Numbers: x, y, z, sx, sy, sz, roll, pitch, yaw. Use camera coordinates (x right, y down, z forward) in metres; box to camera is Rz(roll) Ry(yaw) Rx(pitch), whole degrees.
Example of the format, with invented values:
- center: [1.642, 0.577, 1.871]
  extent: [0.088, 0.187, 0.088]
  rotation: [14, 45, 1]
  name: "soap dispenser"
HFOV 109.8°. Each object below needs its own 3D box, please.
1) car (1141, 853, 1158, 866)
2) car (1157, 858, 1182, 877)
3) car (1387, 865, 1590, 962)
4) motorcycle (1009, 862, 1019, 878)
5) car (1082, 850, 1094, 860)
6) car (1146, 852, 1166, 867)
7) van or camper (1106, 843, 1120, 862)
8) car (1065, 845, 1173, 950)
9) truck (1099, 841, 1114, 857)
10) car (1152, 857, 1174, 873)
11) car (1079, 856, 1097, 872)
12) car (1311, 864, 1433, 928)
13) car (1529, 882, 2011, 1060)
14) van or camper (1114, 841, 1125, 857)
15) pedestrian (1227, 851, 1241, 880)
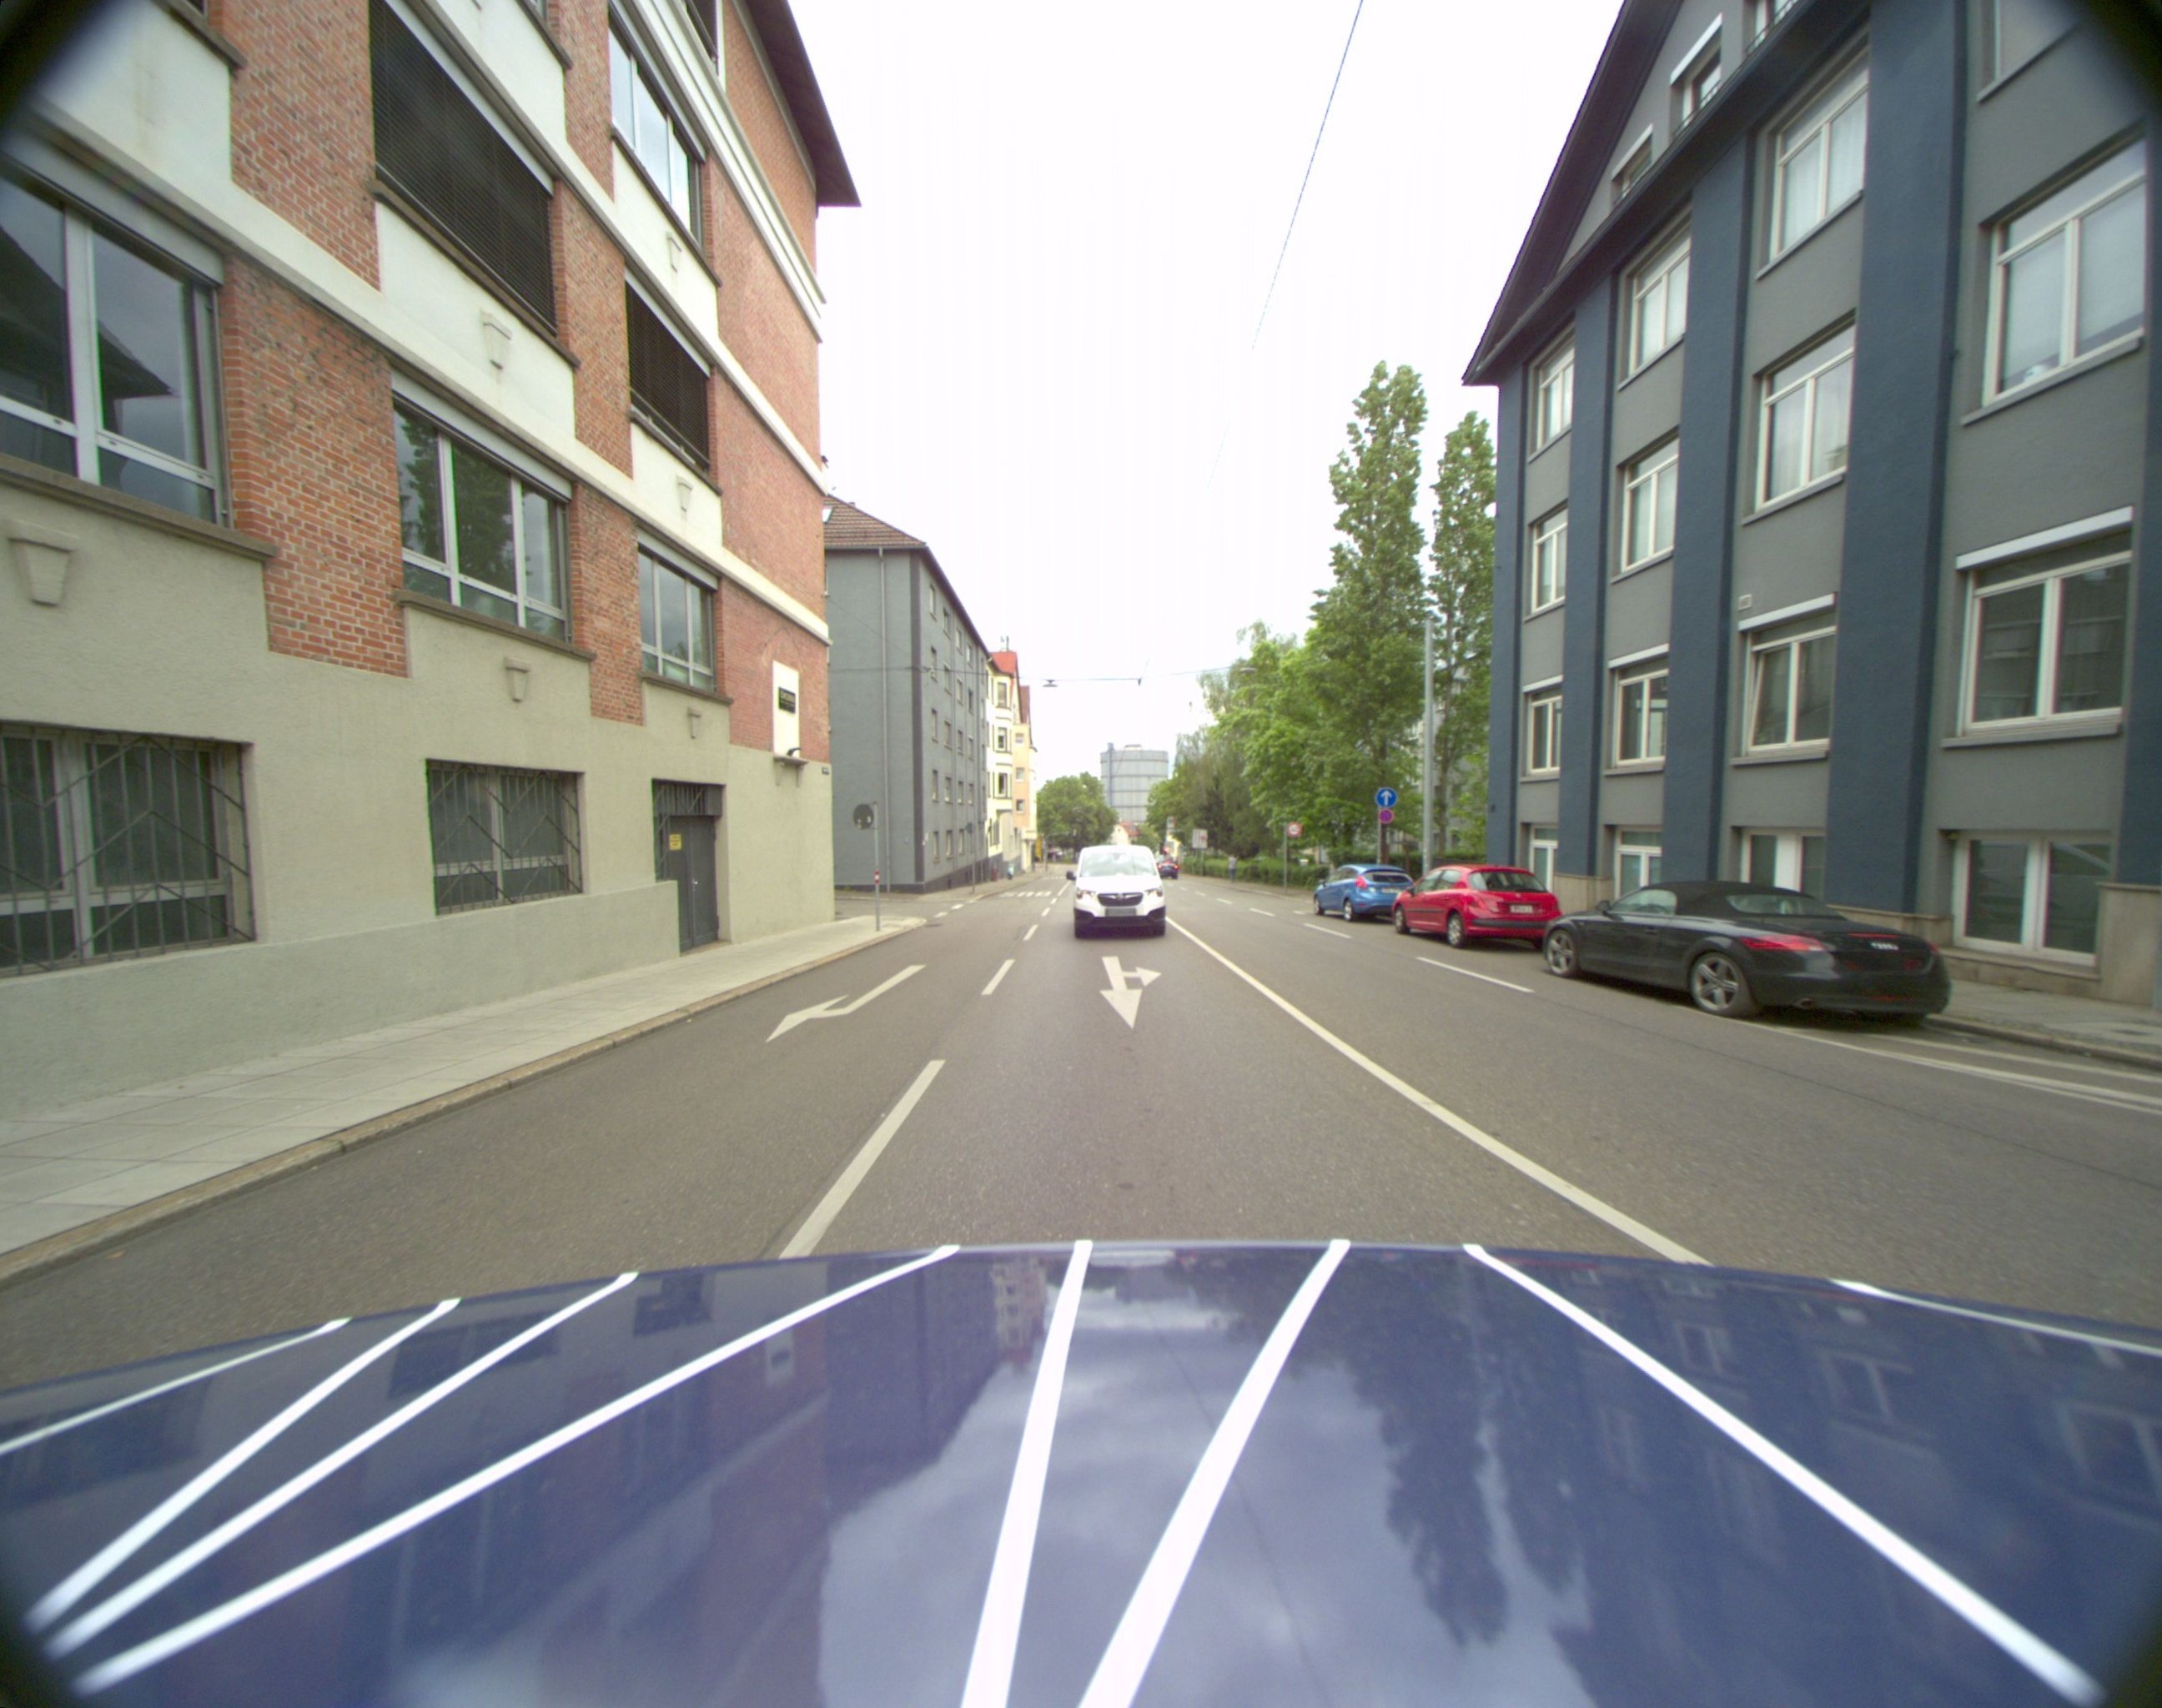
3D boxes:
- center: [8.070, 0.622, 90.054]
  extent: [1.724, 1.408, 3.728]
  rotation: [1, 0, 2]
  name: "car"
- center: [7.272, 1.054, 62.514]
  extent: [1.724, 1.475, 3.728]
  rotation: [1, 0, 2]
  name: "car"
- center: [7.439, 1.003, 14.345]
  extent: [1.819, 1.465, 3.869]
  rotation: [2, 0, 2]
  name: "car"
- center: [-5.152, 1.214, 58.491]
  extent: [0.566, 1.105, 1.653]
  rotation: [4, 0, 2]
  name: "motorcycle"
- center: [1.090, 0.141, 112.440]
  extent: [1.724, 1.486, 3.728]
  rotation: [1, 0, 2]
  name: "car"
- center: [7.653, 0.537, 77.538]
  extent: [1.724, 1.408, 3.728]
  rotation: [1, 0, 2]
  name: "car"
- center: [4.553, -0.201, 109.937]
  extent: [1.914, 2.754, 5.925]
  rotation: [1, 0, 2]
  name: "van or camper"
- center: [0.728, 0.771, 15.938]
  extent: [1.840, 1.797, 4.939]
  rotation: [-2, 0, 1]
  name: "car"
- center: [5.449, -1.043, 162.776]
  extent: [2.980, 3.394, 9.358]
  rotation: [-2, 0, 1]
  name: "truck"
- center: [7.499, 0.983, 69.862]
  extent: [1.724, 1.408, 3.728]
  rotation: [1, 0, 2]
  name: "car"
- center: [0.712, 0.931, 74.655]
  extent: [1.724, 1.486, 3.728]
  rotation: [1, 0, 2]
  name: "car"
- center: [7.437, 1.008, 19.841]
  extent: [1.724, 1.445, 3.727]
  rotation: [1, 0, 0]
  name: "car"
- center: [7.095, 1.079, 8.535]
  extent: [1.724, 1.319, 4.041]
  rotation: [2, 0, 0]
  name: "car"
- center: [6.985, -0.892, 139.688]
  extent: [1.914, 2.754, 5.925]
  rotation: [1, 0, 2]
  name: "van or camper"
- center: [9.919, 0.761, 49.246]
  extent: [0.746, 1.839, 0.776]
  rotation: [-1, 0, 2]
  name: "pedestrian"
